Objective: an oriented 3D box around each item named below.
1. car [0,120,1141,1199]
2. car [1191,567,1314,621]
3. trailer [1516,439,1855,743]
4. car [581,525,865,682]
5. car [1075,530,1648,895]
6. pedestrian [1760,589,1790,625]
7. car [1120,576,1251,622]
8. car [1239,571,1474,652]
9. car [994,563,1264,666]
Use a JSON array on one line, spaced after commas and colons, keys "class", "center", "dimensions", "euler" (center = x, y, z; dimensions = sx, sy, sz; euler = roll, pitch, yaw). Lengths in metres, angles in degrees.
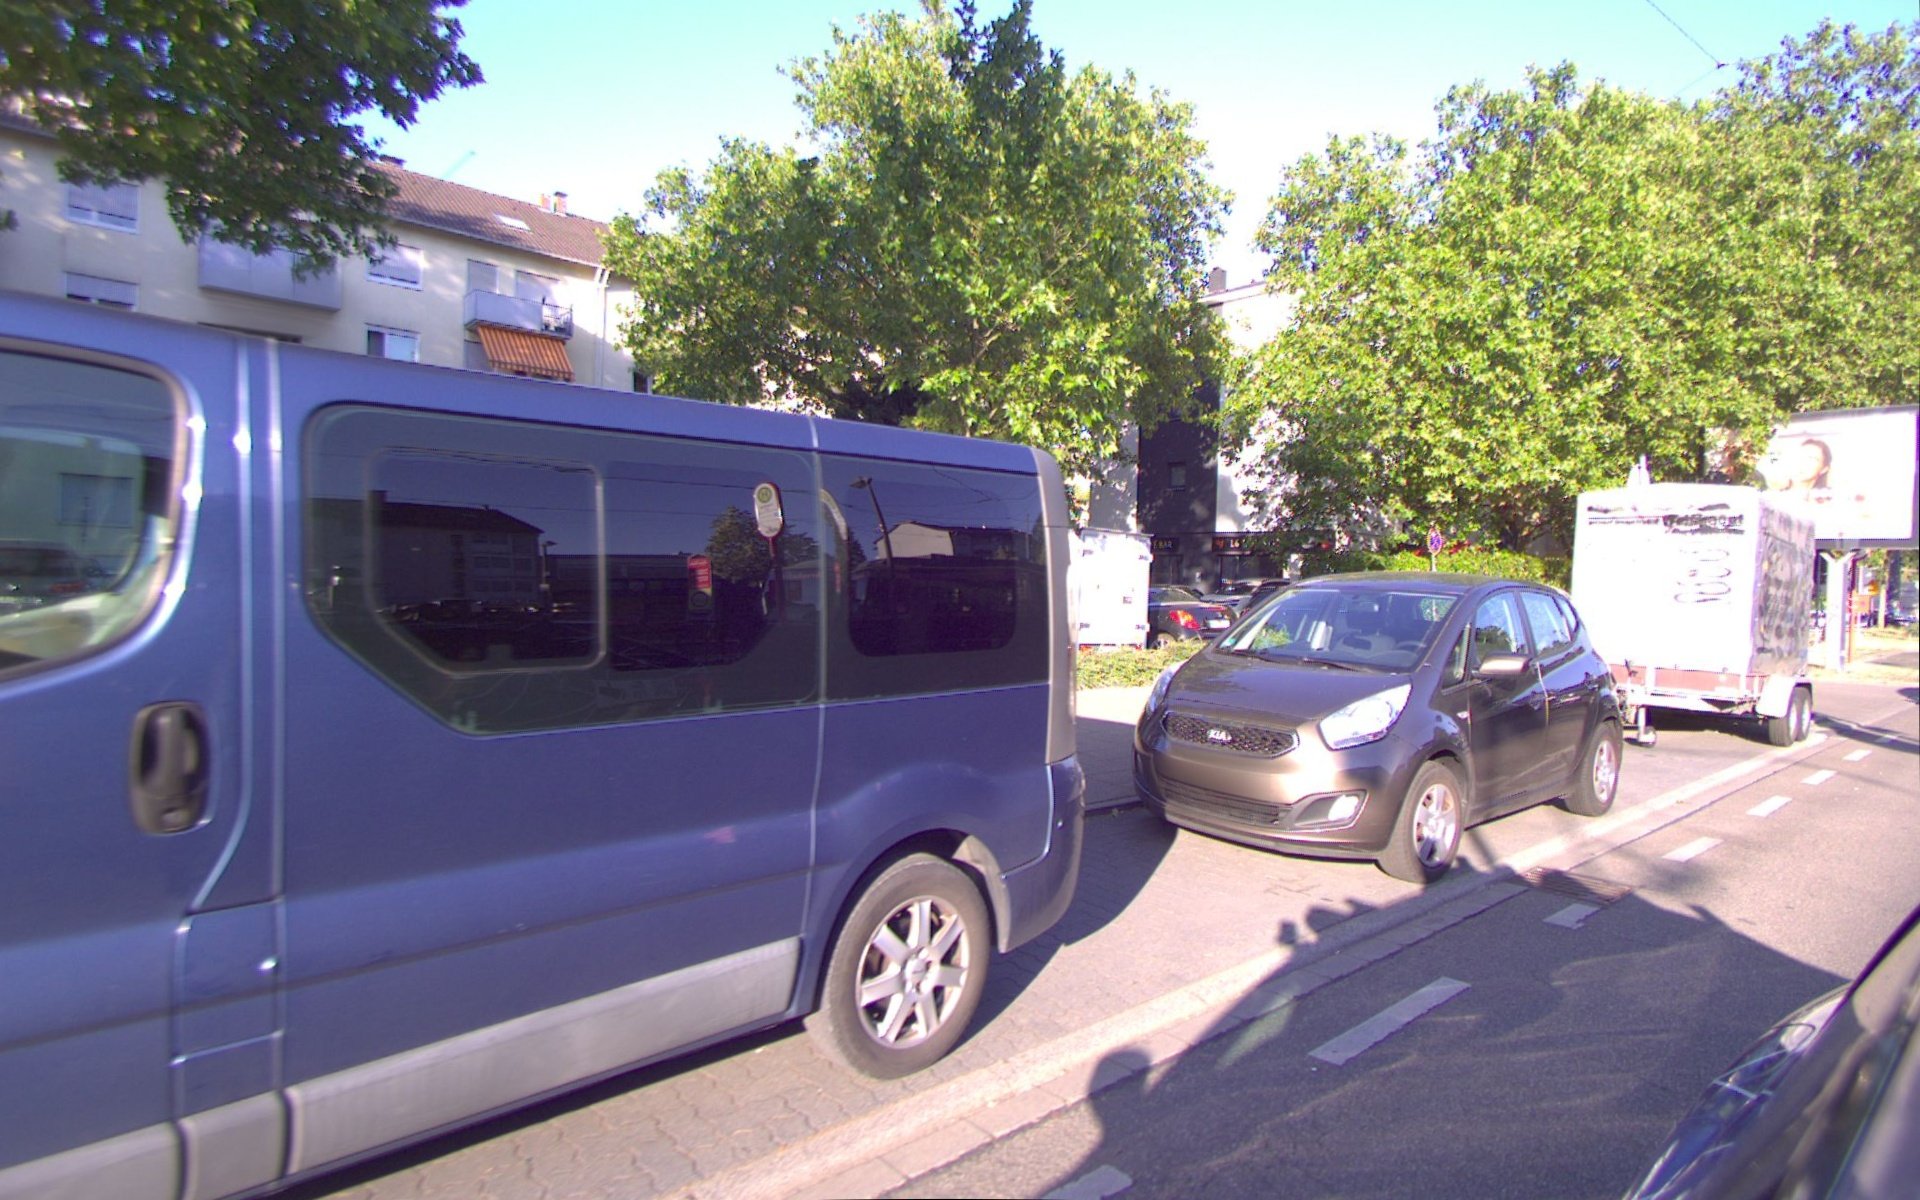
[{"class": "car", "center": [-1.715, 0.264, 2.704], "dimensions": [4.482, 2.104, 1.889], "euler": [0, 1, -41]}, {"class": "car", "center": [9.626, -0.209, 33.142], "dimensions": [4.222, 1.630, 1.819], "euler": [0, 2, -40]}, {"class": "trailer", "center": [7.955, -0.101, 10.928], "dimensions": [4.569, 2.620, 1.889], "euler": [0, 1, -41]}, {"class": "car", "center": [-3.033, 0.050, 12.317], "dimensions": [1.770, 1.570, 4.121], "euler": [1, -1, -39]}, {"class": "car", "center": [2.763, 0.486, 6.549], "dimensions": [3.929, 1.651, 1.799], "euler": [0, 1, -41]}, {"class": "pedestrian", "center": [44.219, 0.383, 54.906], "dimensions": [0.935, 1.887, 1.062], "euler": [1, 1, -40]}, {"class": "car", "center": [7.810, -0.033, 35.003], "dimensions": [4.115, 1.494, 2.003], "euler": [1, 1, -30]}, {"class": "car", "center": [8.437, 0.181, 21.777], "dimensions": [1.968, 1.514, 4.284], "euler": [0, 2, -45]}, {"class": "car", "center": [2.803, 0.169, 17.499], "dimensions": [1.967, 1.514, 4.286], "euler": [0, 2, -44]}]
